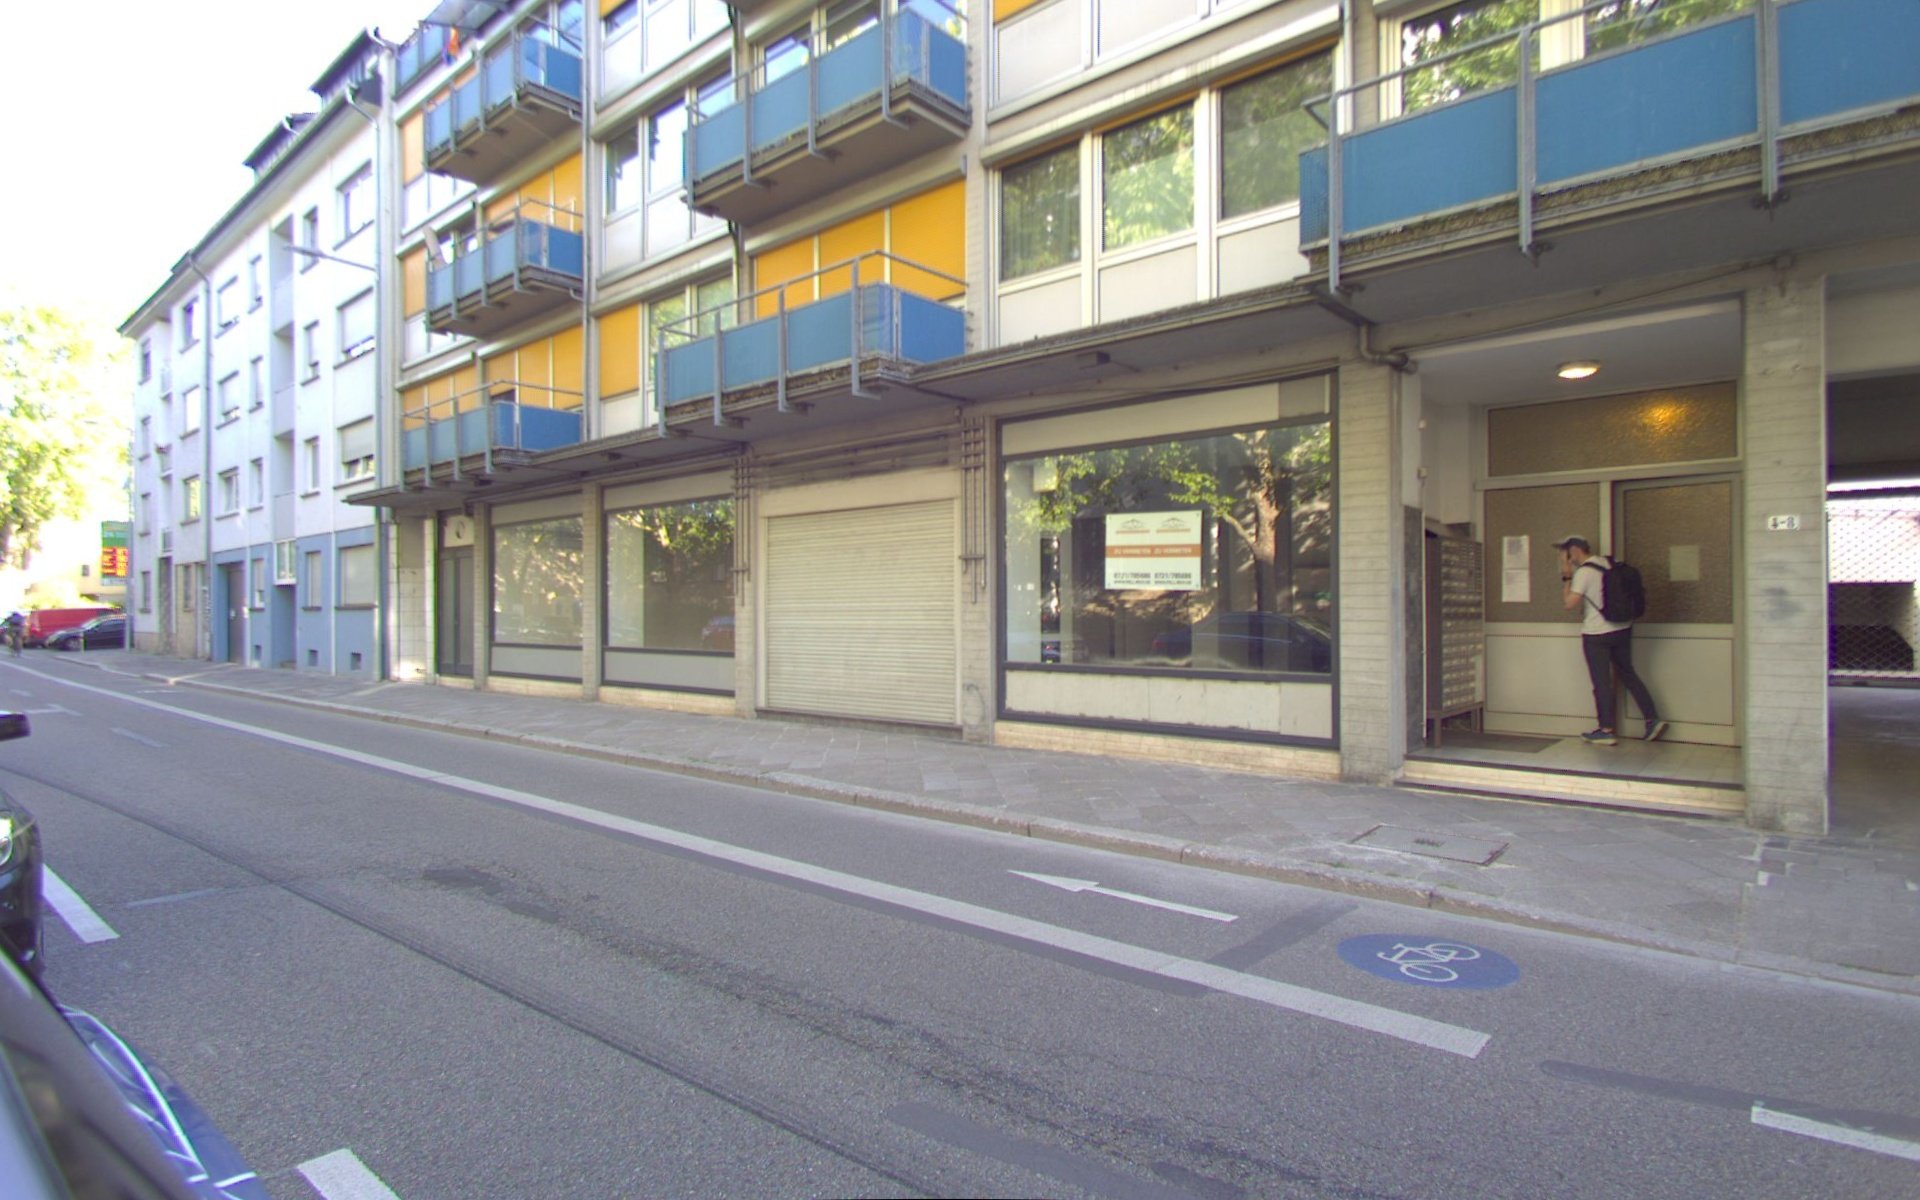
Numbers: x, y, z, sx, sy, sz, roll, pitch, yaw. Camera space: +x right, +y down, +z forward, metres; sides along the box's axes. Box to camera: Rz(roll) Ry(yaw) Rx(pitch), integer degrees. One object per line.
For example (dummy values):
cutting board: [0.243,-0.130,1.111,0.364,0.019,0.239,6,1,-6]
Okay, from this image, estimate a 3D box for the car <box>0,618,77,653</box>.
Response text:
car: [-55.604,2.073,60.566,2.000,1.962,3.944,-1,0,42]

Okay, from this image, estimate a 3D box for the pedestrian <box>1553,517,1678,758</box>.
pedestrian: [5.468,0.296,8.441,0.786,1.894,0.574,-1,0,41]

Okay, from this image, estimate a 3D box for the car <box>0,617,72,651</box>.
car: [-57.410,2.097,62.283,2.000,1.962,3.944,-1,0,42]

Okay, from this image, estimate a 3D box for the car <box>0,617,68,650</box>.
car: [-59.209,2.120,64.016,2.000,1.962,3.944,-1,0,42]

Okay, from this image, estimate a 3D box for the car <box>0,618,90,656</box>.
car: [-51.573,2.020,56.830,2.000,1.962,3.944,-1,0,42]

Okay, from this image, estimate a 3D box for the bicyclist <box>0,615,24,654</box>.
bicyclist: [-37.060,1.334,39.463,0.795,1.461,0.746,-1,0,41]

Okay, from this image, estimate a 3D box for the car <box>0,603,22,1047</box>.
car: [-5.525,0.808,4.280,4.479,1.512,1.842,-1,-1,41]

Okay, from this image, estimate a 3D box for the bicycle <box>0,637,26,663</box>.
bicycle: [-37.107,1.932,39.497,2.217,0.928,0.756,-1,0,41]

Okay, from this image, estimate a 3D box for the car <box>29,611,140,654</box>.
car: [-43.433,1.582,50.252,2.000,1.962,3.944,-1,0,42]

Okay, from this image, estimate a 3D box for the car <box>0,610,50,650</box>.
car: [-62.801,1.968,66.786,2.000,2.538,3.944,-1,0,42]

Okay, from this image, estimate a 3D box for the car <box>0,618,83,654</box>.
car: [-53.523,2.046,58.613,2.000,1.962,3.944,-1,0,42]

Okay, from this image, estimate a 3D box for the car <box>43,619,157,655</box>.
car: [-41.178,1.751,48.527,2.000,1.564,3.944,-1,0,42]

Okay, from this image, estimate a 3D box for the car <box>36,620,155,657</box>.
car: [-39.759,1.733,46.606,2.000,1.564,3.944,-1,0,42]
